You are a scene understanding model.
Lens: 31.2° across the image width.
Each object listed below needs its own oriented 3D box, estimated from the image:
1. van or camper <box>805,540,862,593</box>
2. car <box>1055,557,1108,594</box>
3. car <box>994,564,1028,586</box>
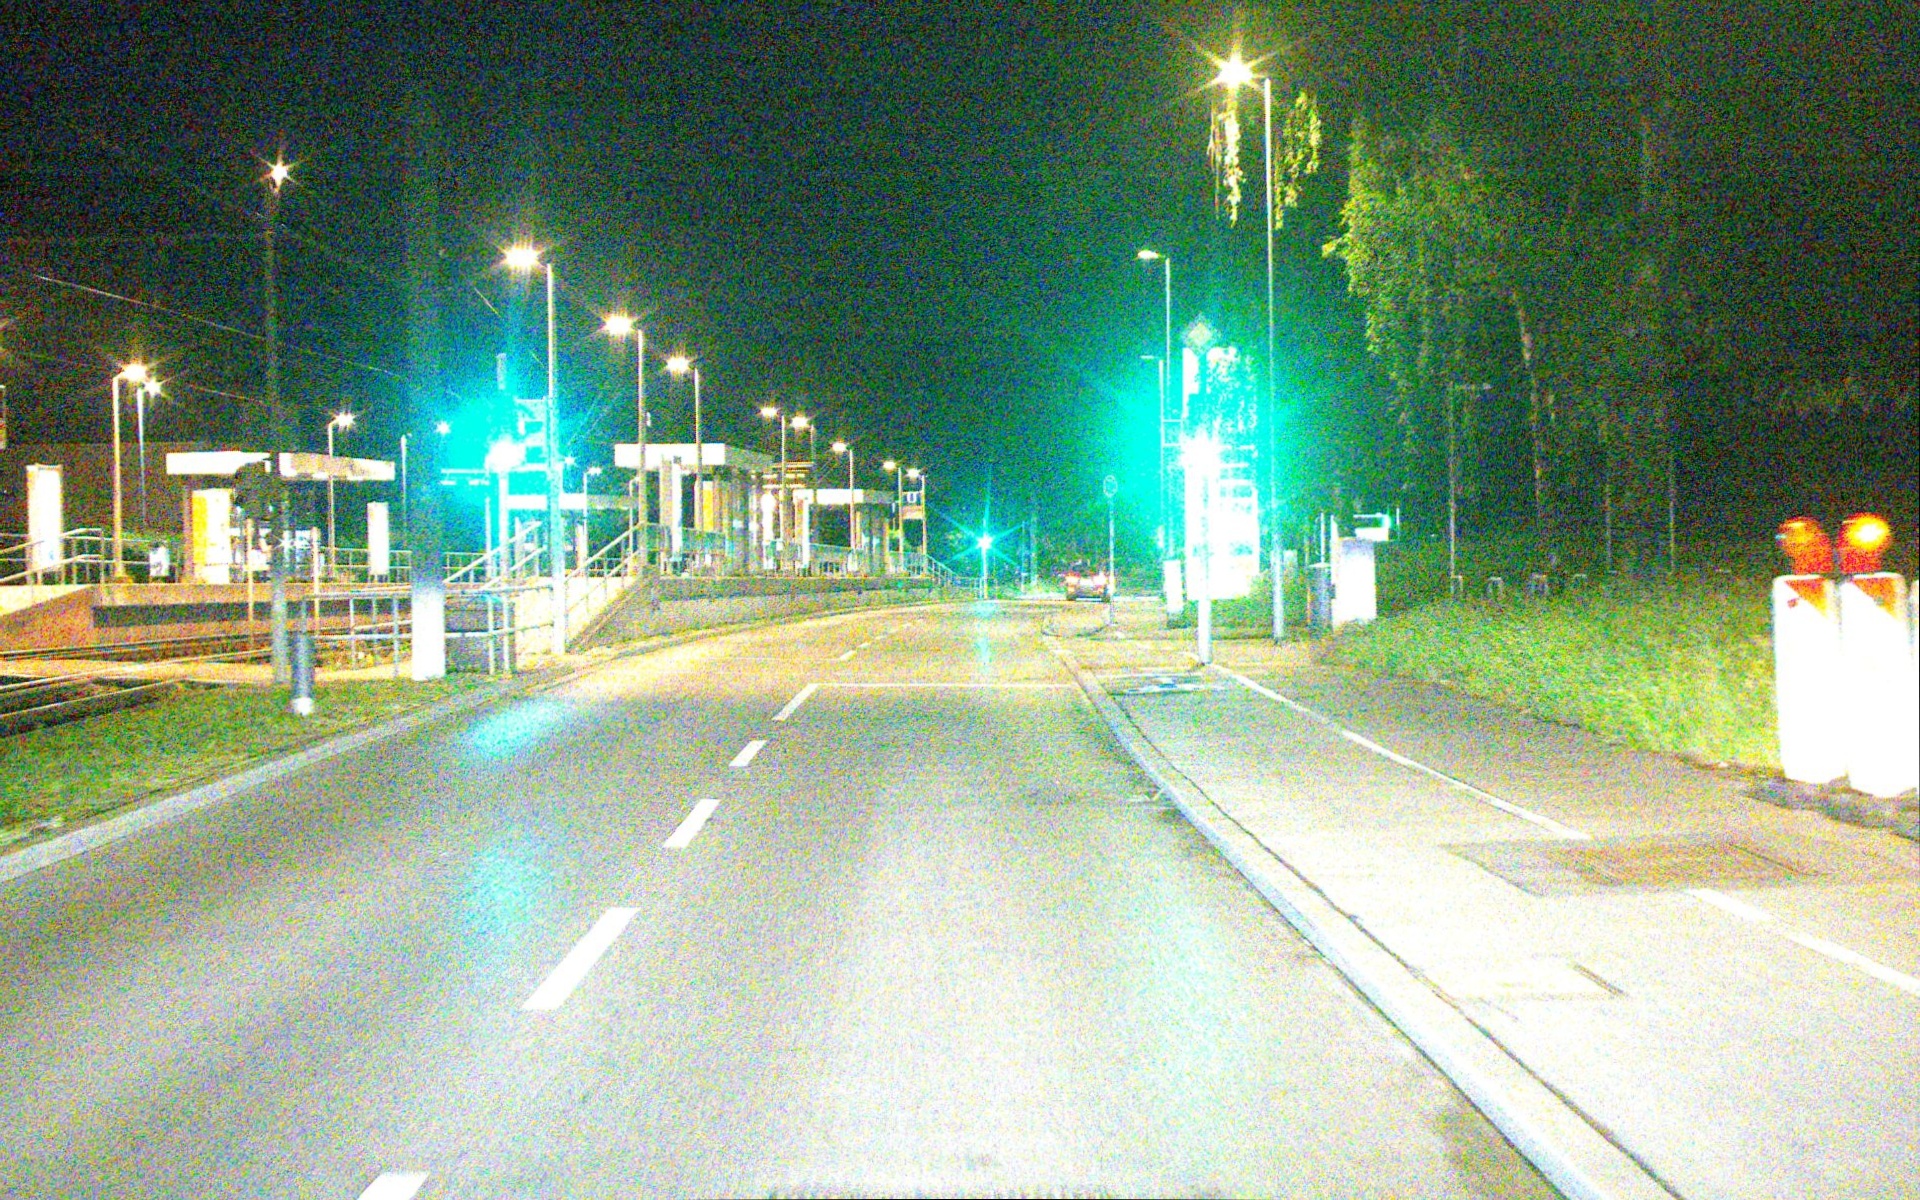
[{"bbox_3d":[-6.676,-1.787,181.915,2.273,2.638,5.663,-2,0,5],"label":"van or camper"},{"bbox_3d":[5.395,-1.098,152.804,2.162,1.577,4.013,1,0,4],"label":"car"},{"bbox_3d":[3.819,-1.896,256.518,1.994,1.622,4.675,0,1,8],"label":"car"}]
